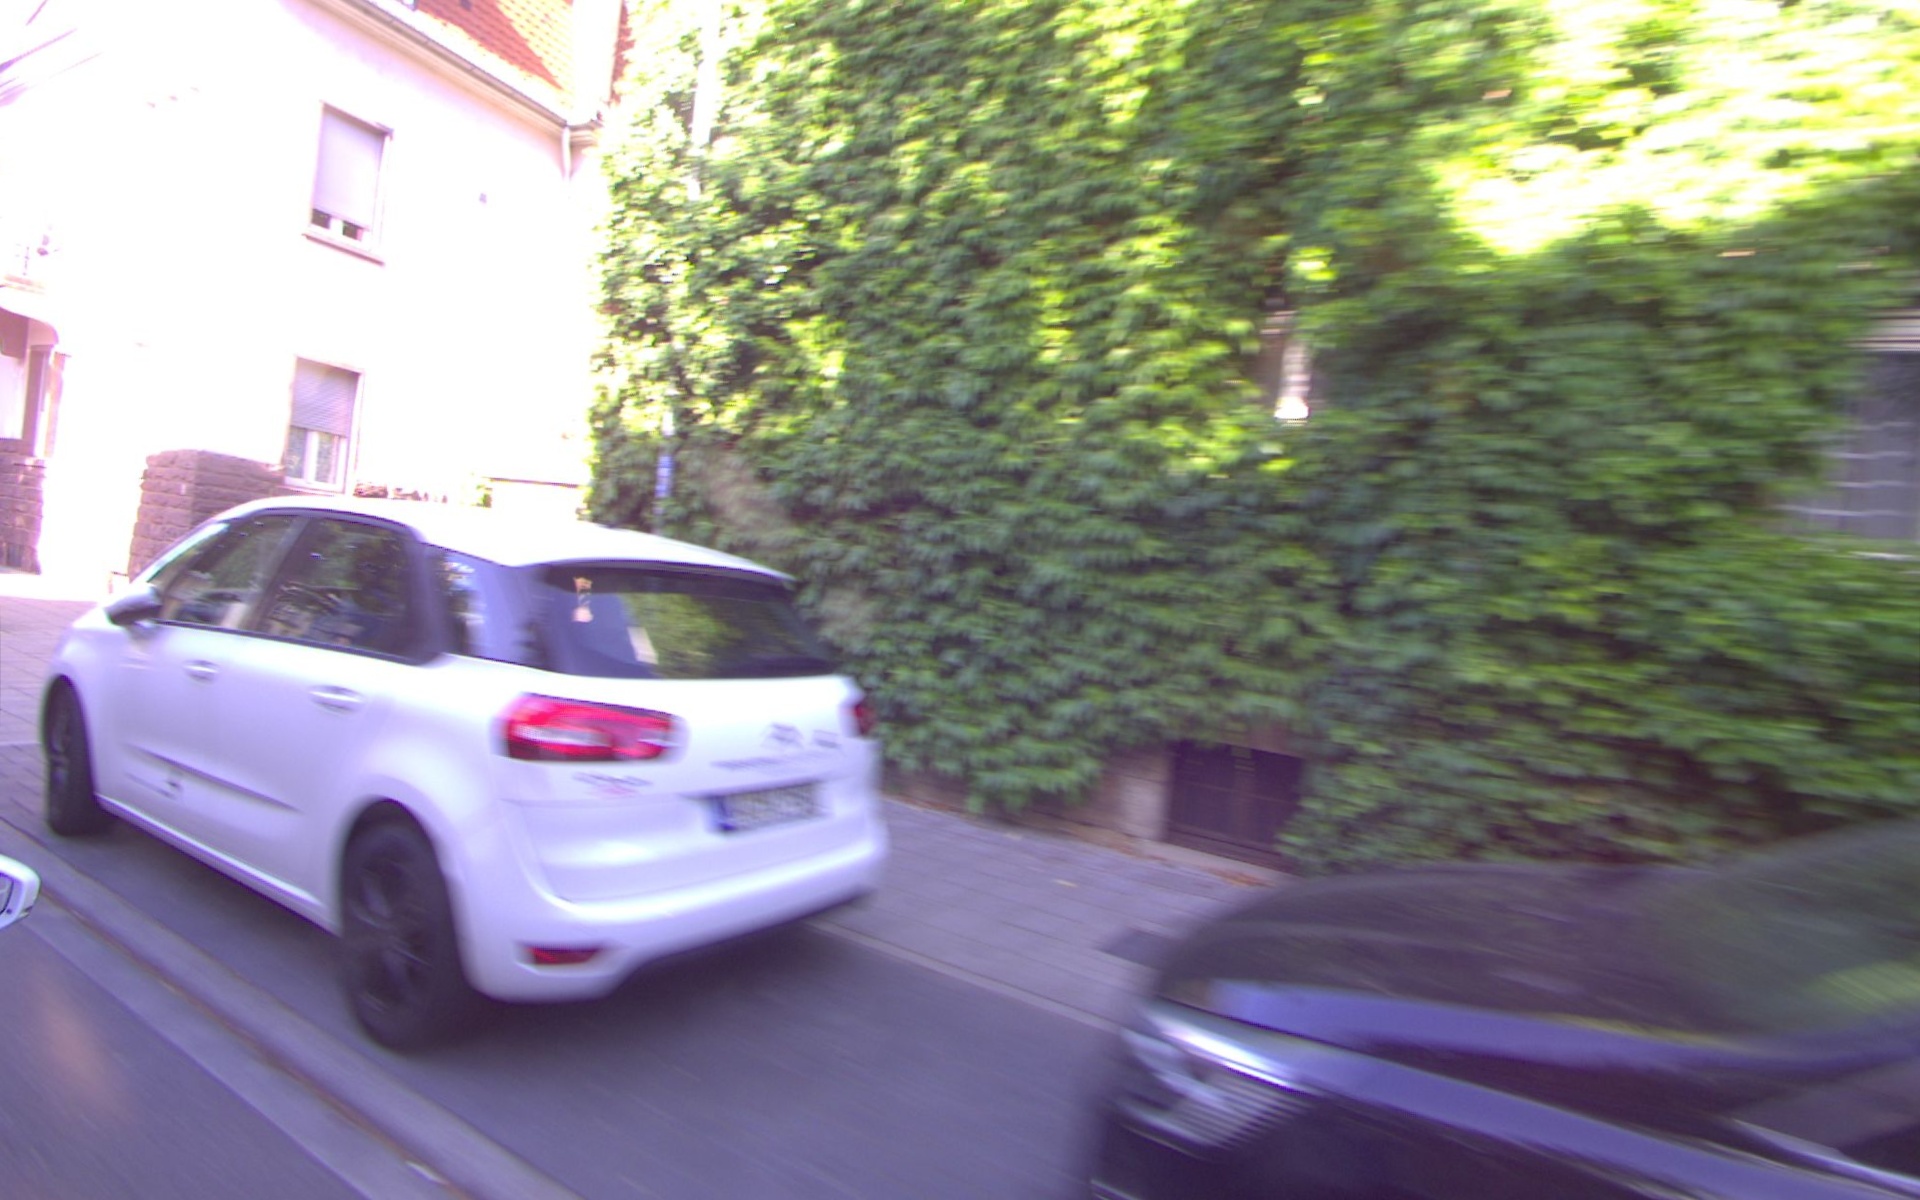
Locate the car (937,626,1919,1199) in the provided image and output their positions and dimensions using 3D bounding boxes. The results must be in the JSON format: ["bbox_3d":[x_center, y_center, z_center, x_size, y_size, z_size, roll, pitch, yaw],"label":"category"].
[{"bbox_3d":[2.079,1.013,1.525,3.942,1.440,1.638,7,1,31],"label":"car"}]

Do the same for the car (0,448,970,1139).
[{"bbox_3d":[-2.267,0.379,4.426,4.130,1.666,1.868,7,1,32],"label":"car"}]
